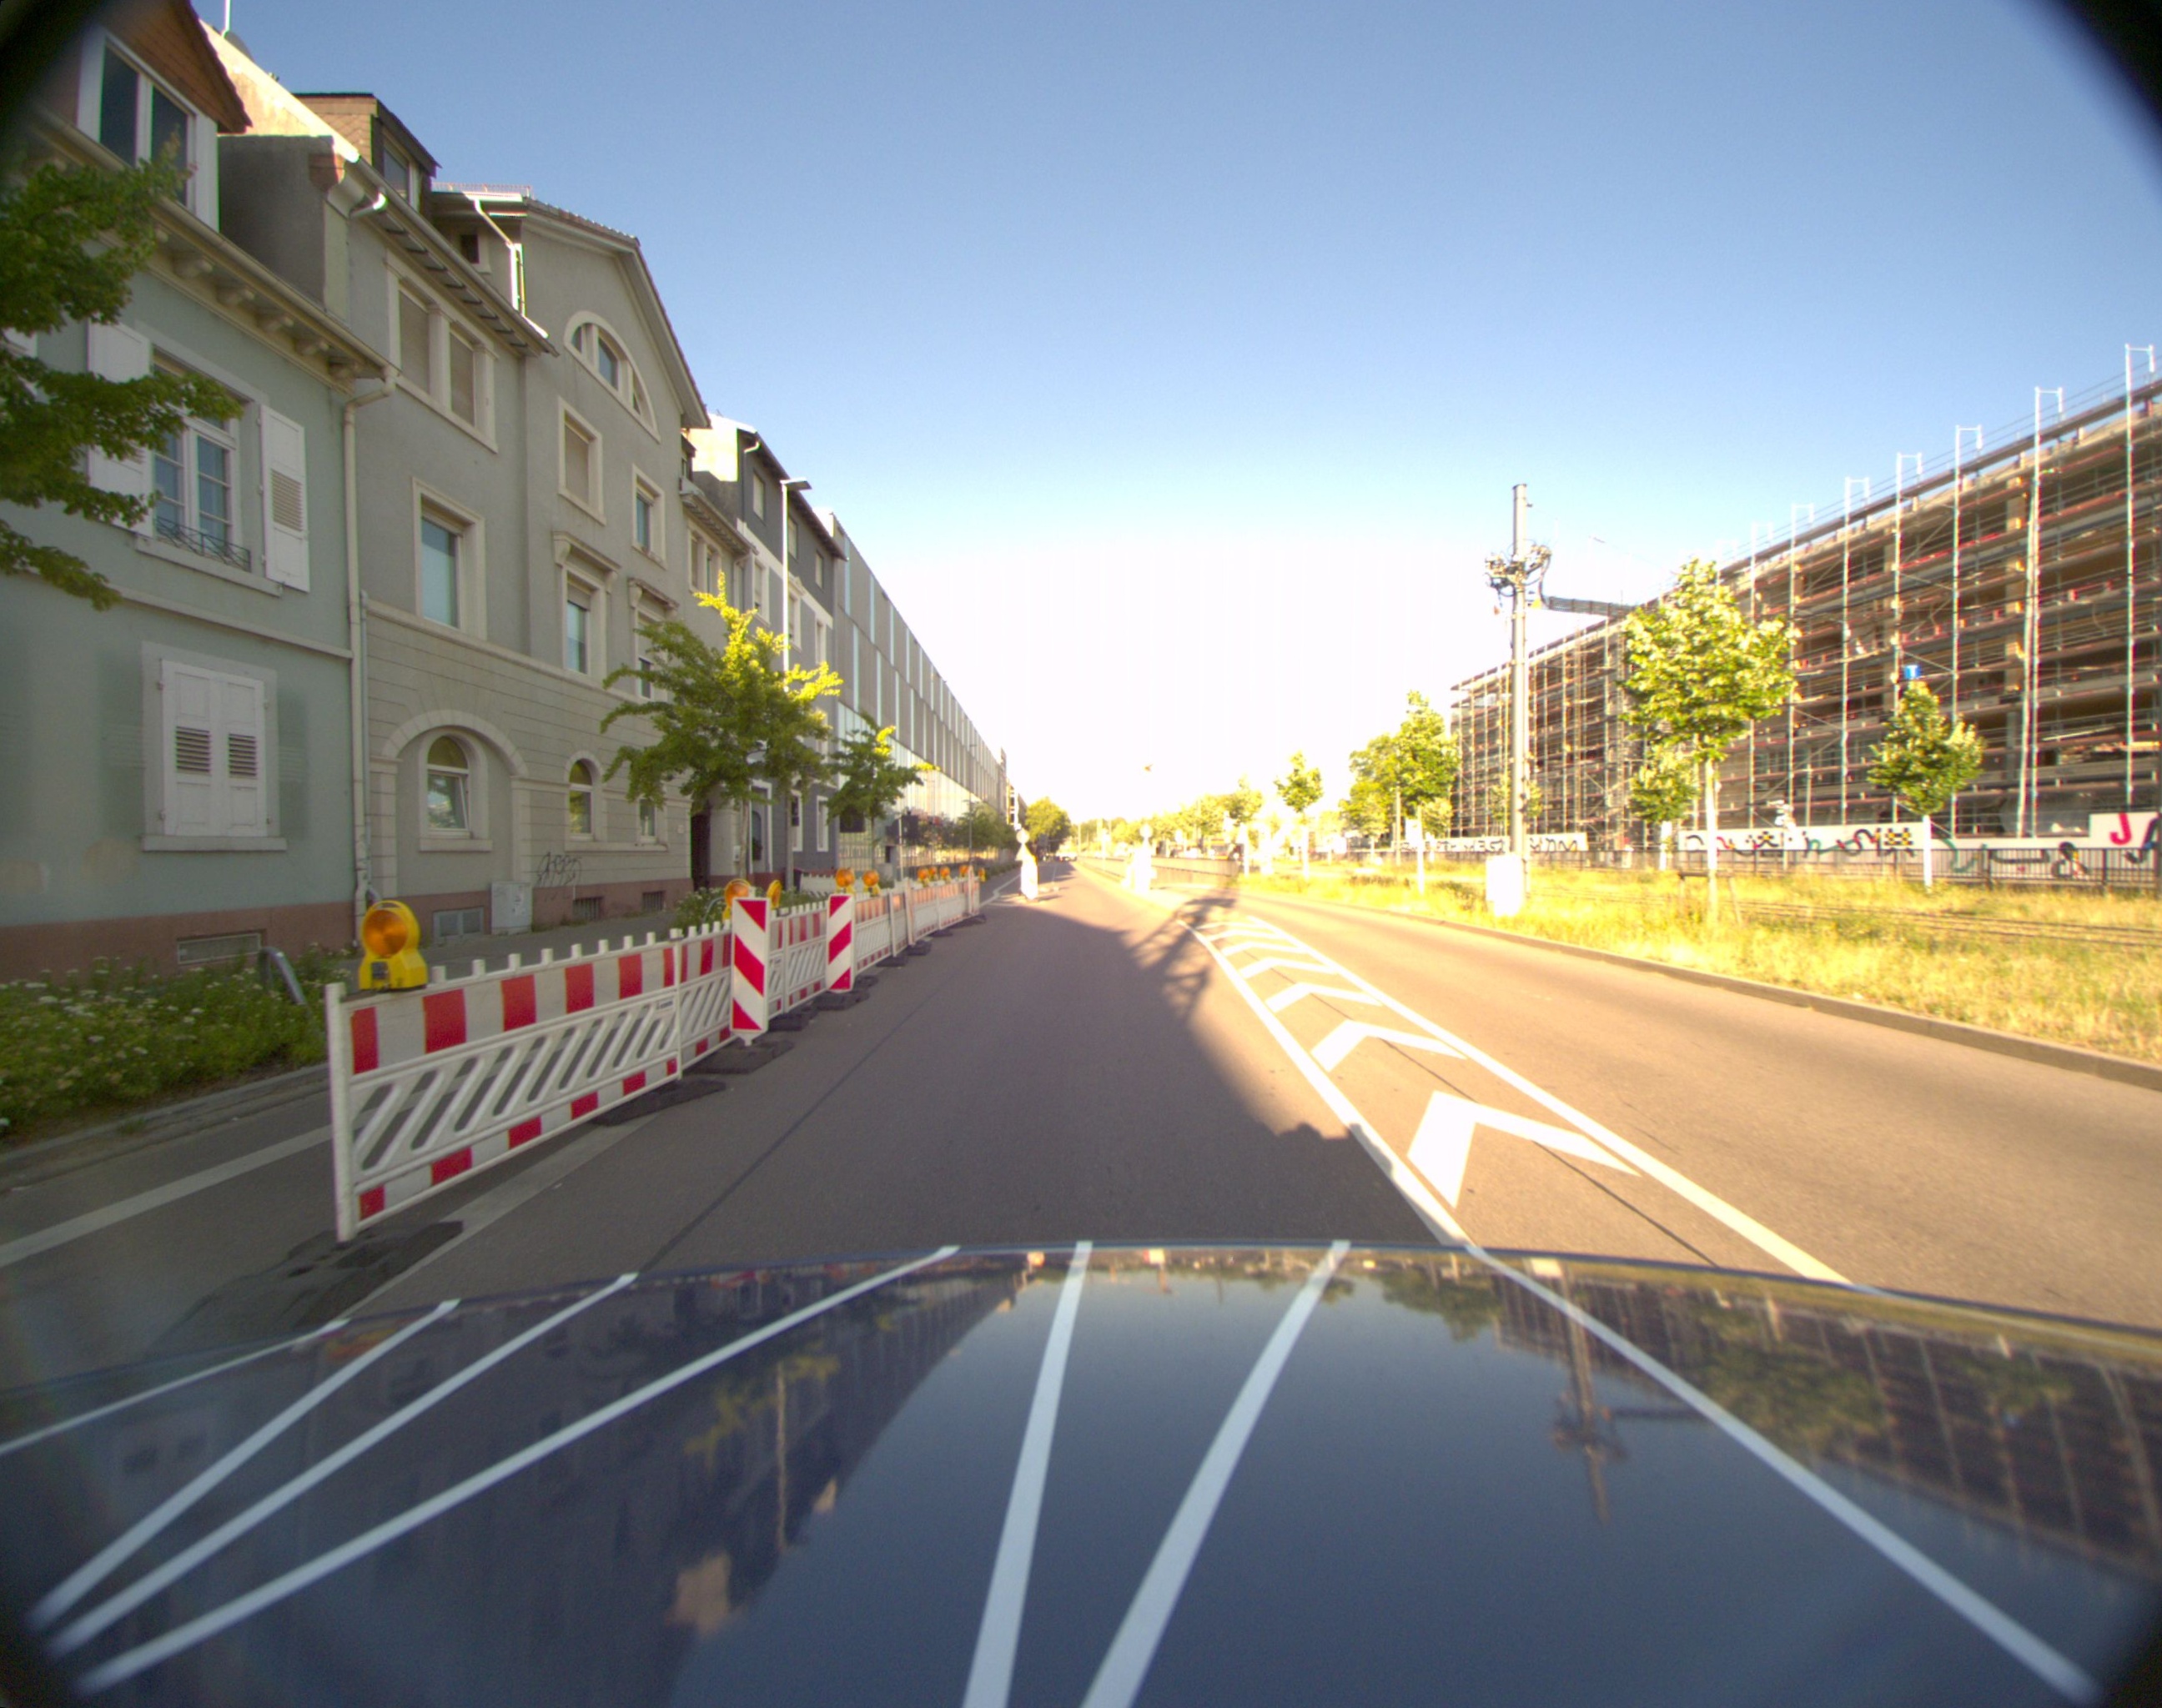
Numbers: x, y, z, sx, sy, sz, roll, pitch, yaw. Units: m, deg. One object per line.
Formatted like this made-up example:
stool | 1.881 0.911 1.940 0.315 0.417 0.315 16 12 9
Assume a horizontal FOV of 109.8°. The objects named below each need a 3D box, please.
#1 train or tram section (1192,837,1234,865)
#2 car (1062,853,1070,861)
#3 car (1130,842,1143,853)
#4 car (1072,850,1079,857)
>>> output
train or tram section | 17.020 -0.396 99.275 2.954 3.378 12.630 -2 1 -1
car | -3.750 0.803 192.185 1.941 2.002 3.826 -1 0 -3
car | 9.676 -1.098 132.346 1.998 1.740 4.000 -2 1 1
car | -1.667 -0.235 224.540 1.941 2.002 3.826 -1 0 -3
